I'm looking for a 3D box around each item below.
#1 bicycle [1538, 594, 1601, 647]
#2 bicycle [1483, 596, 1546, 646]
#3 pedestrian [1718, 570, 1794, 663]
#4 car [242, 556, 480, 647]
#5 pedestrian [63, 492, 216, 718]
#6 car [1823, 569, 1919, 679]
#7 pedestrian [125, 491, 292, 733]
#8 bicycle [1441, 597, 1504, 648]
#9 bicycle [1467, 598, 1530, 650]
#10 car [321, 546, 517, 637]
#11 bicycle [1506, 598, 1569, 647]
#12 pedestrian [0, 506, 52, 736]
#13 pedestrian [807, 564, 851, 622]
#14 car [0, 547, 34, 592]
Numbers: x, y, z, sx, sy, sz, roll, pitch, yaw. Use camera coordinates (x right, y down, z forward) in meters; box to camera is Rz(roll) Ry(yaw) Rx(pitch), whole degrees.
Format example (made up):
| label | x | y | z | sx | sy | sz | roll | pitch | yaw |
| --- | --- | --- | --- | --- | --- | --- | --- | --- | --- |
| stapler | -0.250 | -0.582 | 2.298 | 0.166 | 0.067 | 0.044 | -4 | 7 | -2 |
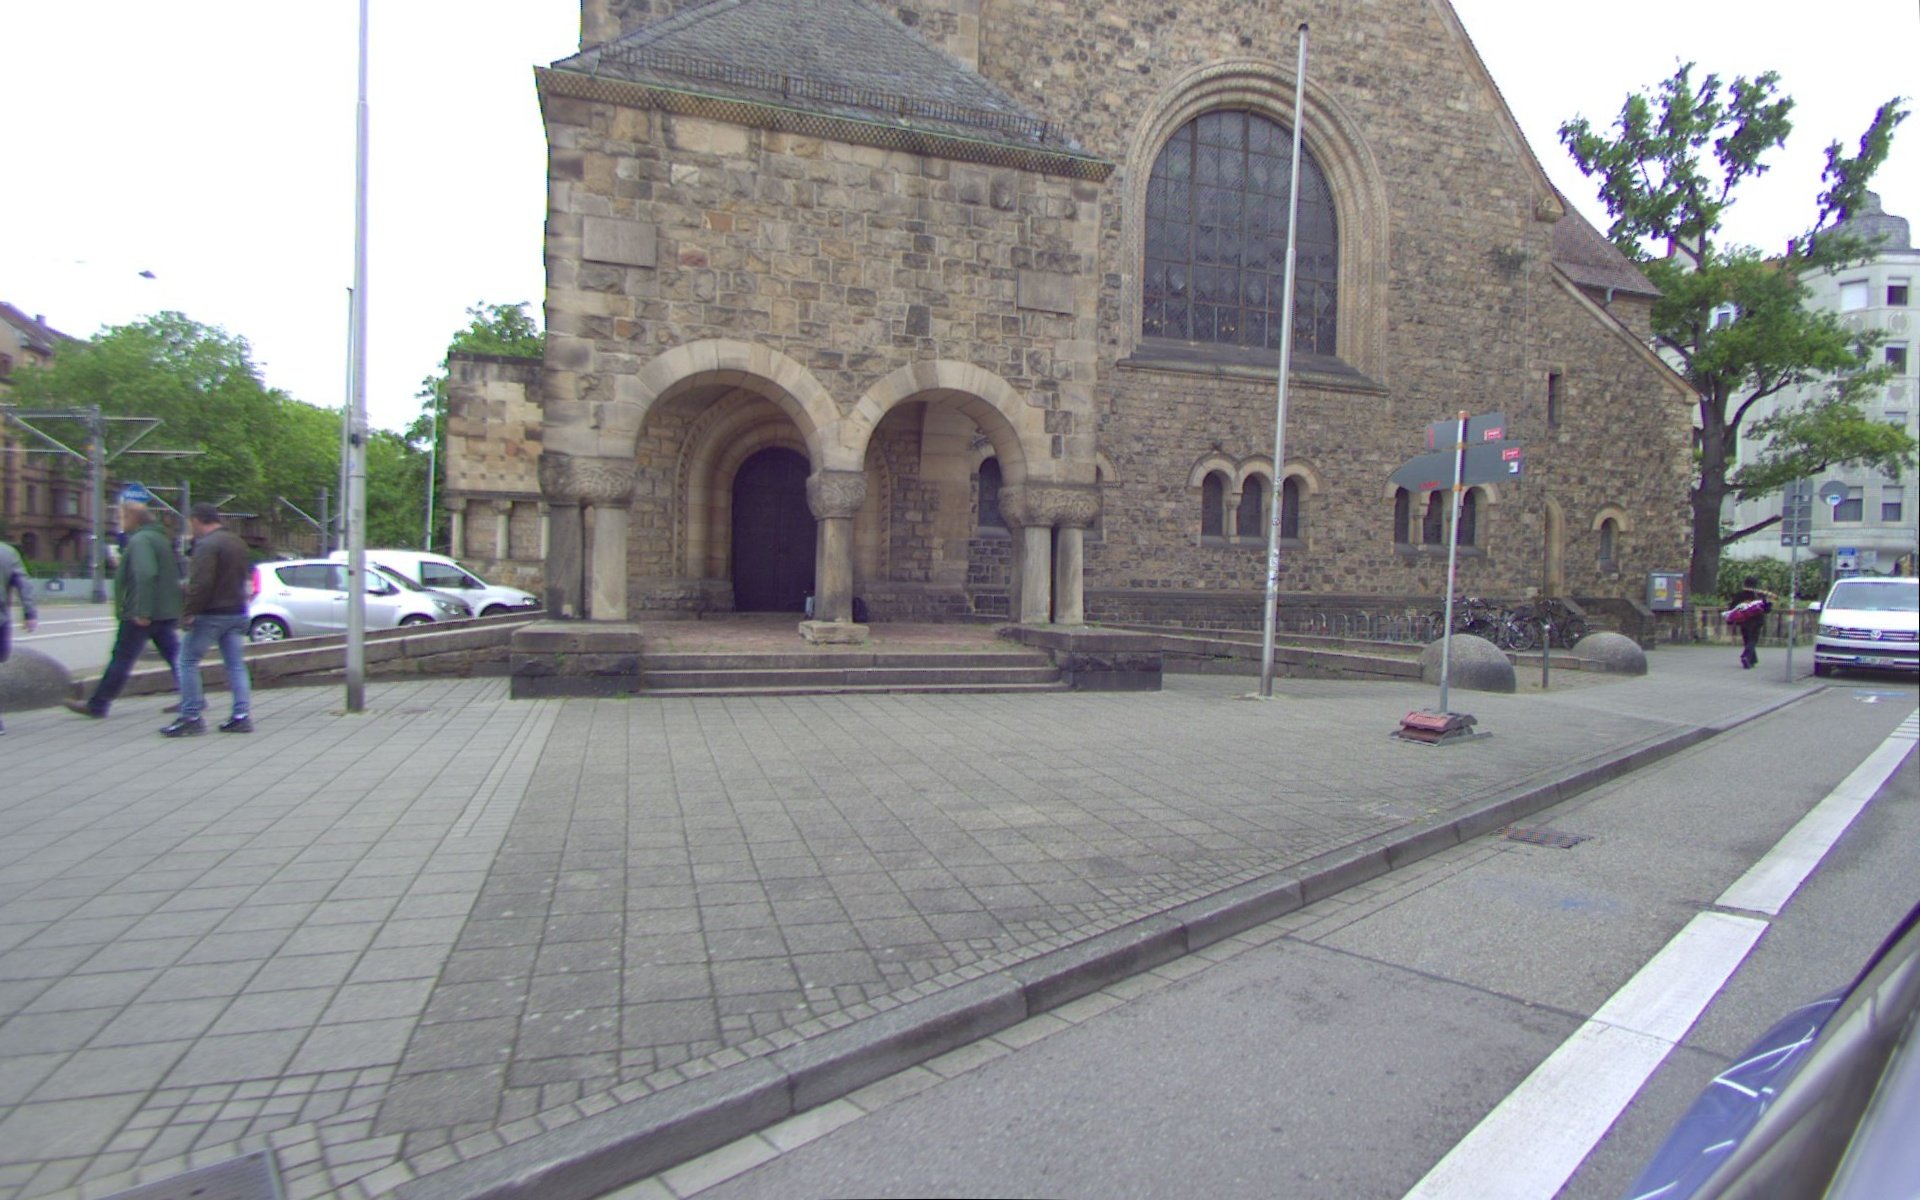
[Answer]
| label | x | y | z | sx | sy | sz | roll | pitch | yaw |
| --- | --- | --- | --- | --- | --- | --- | --- | --- | --- |
| bicycle | 14.086 | 0.461 | 23.428 | 0.304 | 1.161 | 1.346 | 1 | 1 | -20 |
| bicycle | 12.591 | 0.468 | 23.020 | 0.304 | 1.073 | 1.387 | 1 | 1 | -20 |
| pedestrian | 16.110 | 0.310 | 20.483 | 0.999 | 1.831 | 0.818 | -2 | 1 | -21 |
| car | -10.715 | 0.015 | 18.343 | 3.394 | 1.549 | 1.622 | 0 | 1 | -16 |
| pedestrian | -6.953 | 0.022 | 8.580 | 0.952 | 1.780 | 0.806 | 1 | 3 | -42 |
| car | 18.583 | 0.418 | 19.977 | 5.077 | 1.944 | 1.807 | 0 | 1 | -43 |
| pedestrian | -5.719 | 0.070 | 7.706 | 0.952 | 1.706 | 0.675 | 1 | 3 | -42 |
| bicycle | 11.382 | 0.487 | 22.511 | 0.304 | 1.073 | 1.387 | 1 | 1 | -20 |
| bicycle | 11.974 | 0.518 | 22.535 | 0.304 | 1.073 | 1.387 | 1 | 1 | -20 |
| car | -11.445 | -0.180 | 21.646 | 3.394 | 1.815 | 1.691 | 0 | 1 | -16 |
| bicycle | 13.201 | 0.497 | 23.171 | 0.304 | 1.073 | 1.346 | 1 | 1 | -20 |
| pedestrian | -7.474 | 0.135 | 7.553 | 0.951 | 1.693 | 0.635 | 1 | 2 | -35 |
| pedestrian | -2.266 | -0.124 | 17.480 | 0.602 | 0.963 | 0.675 | 1 | 1 | -19 |
| car | -60.621 | -1.860 | 61.101 | 2.211 | 2.762 | 7.087 | 0 | 1 | 10 |
